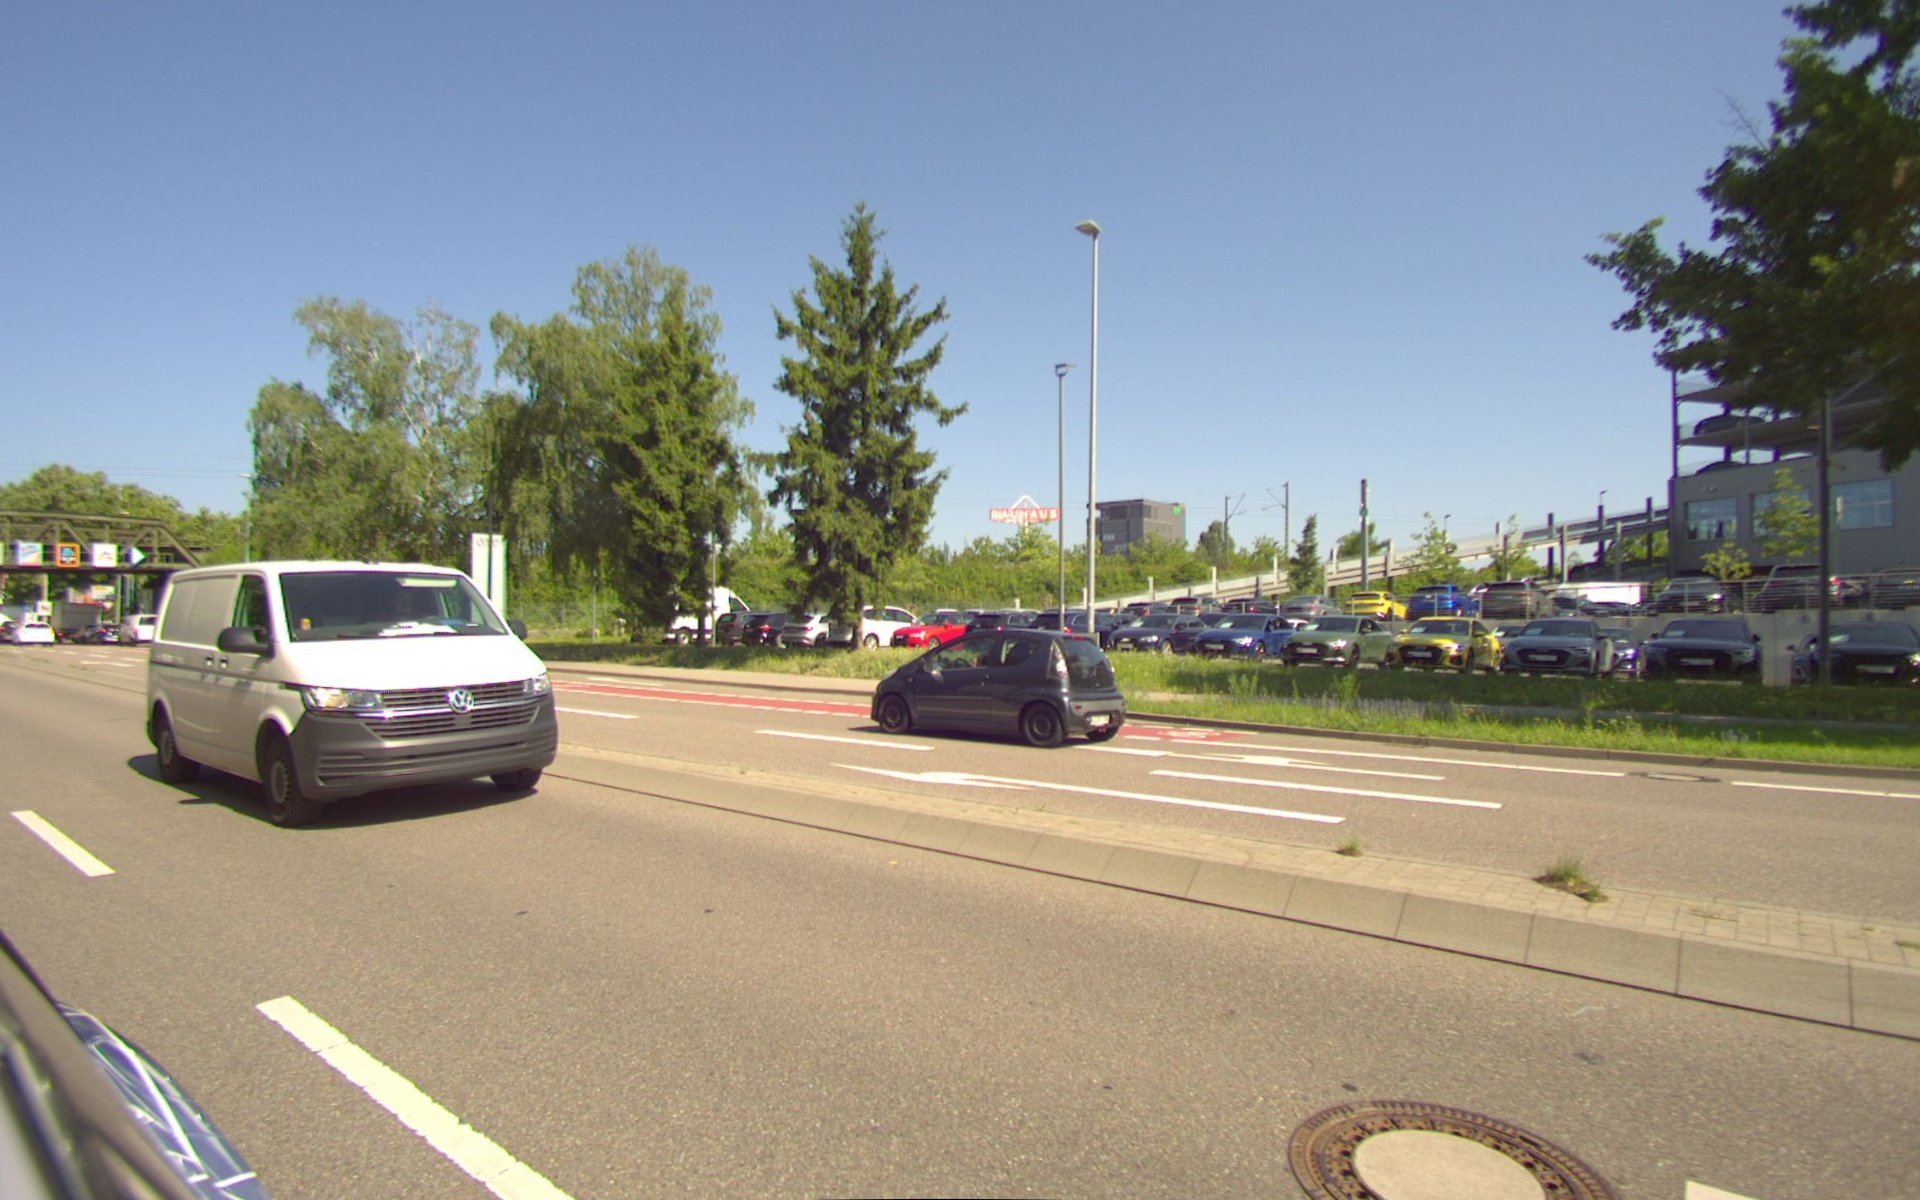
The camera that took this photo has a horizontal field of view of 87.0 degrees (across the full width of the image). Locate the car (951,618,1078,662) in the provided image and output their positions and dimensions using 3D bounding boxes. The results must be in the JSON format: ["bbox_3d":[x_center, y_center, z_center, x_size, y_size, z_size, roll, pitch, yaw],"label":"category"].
[{"bbox_3d":[1.832,1.288,33.255,1.954,1.338,4.220,-1,-2,42],"label":"car"}]

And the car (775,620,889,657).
[{"bbox_3d":[-4.700,1.422,37.596,1.743,1.303,4.042,-1,-2,42],"label":"car"}]

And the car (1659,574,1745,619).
[{"bbox_3d":[24.928,-0.078,33.936,1.953,1.361,4.221,-1,-2,41],"label":"car"}]

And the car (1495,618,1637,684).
[{"bbox_3d":[13.887,1.113,23.086,1.954,1.361,4.220,-1,-2,42],"label":"car"}]

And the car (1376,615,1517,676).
[{"bbox_3d":[11.935,1.074,24.708,1.954,1.361,4.220,-1,-2,42],"label":"car"}]

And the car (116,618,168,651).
[{"bbox_3d":[-51.367,2.172,63.512,1.970,2.029,5.349,2,-3,-45],"label":"car"}]

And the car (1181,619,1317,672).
[{"bbox_3d":[8.049,1.223,28.000,1.954,1.361,4.220,-1,-2,42],"label":"car"}]

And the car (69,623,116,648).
[{"bbox_3d":[-63.180,2.627,73.672,4.285,1.703,1.963,-3,-5,41],"label":"car"}]

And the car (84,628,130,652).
[{"bbox_3d":[-58.283,2.756,69.128,4.175,1.506,1.750,-3,-5,41],"label":"car"}]

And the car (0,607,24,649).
[{"bbox_3d":[-67.851,1.943,71.121,6.930,2.827,1.974,-2,-4,39],"label":"car"}]

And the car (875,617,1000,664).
[{"bbox_3d":[-0.704,1.357,34.880,1.954,1.515,4.220,-1,-2,42],"label":"car"}]

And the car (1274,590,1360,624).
[{"bbox_3d":[15.003,0.330,42.420,1.953,1.361,4.221,-1,-2,41],"label":"car"}]

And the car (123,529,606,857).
[{"bbox_3d":[-5.199,0.638,8.513,4.969,2.009,1.863,-1,-2,39],"label":"car"}]

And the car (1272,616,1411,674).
[{"bbox_3d":[9.948,1.130,26.245,1.954,1.361,4.220,-1,-2,42],"label":"car"}]

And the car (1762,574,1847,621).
[{"bbox_3d":[26.995,-0.031,32.316,1.953,1.361,4.221,-1,-2,41],"label":"car"}]

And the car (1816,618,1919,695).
[{"bbox_3d":[17.944,1.039,19.557,1.954,1.361,4.220,-1,-2,42],"label":"car"}]

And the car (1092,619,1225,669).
[{"bbox_3d":[5.896,1.263,29.797,1.954,1.361,4.220,-1,-2,42],"label":"car"}]

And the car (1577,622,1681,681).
[{"bbox_3d":[20.119,1.486,30.355,1.954,1.655,4.220,-1,-2,42],"label":"car"}]

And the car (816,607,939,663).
[{"bbox_3d":[-2.883,1.228,36.099,1.954,1.899,4.220,-1,-2,42],"label":"car"}]

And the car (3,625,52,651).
[{"bbox_3d":[-56.018,2.305,60.787,3.825,1.506,1.626,-3,-5,40],"label":"car"}]

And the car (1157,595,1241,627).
[{"bbox_3d":[10.861,0.539,45.807,1.953,1.361,4.221,-1,-2,41],"label":"car"}]

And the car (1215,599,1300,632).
[{"bbox_3d":[13.017,0.706,44.128,1.953,1.361,4.221,-1,-2,41],"label":"car"}]

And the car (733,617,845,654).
[{"bbox_3d":[-6.652,1.362,39.571,4.039,1.364,1.745,2,-1,-44],"label":"car"}]

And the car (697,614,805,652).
[{"bbox_3d":[-8.523,1.346,41.442,4.039,1.449,1.745,2,-2,-44],"label":"car"}]

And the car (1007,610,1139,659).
[{"bbox_3d":[3.523,1.046,31.041,1.954,1.392,4.220,-1,-2,42],"label":"car"}]

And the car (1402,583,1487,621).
[{"bbox_3d":[18.908,0.111,39.409,1.953,1.361,4.221,-1,-2,41],"label":"car"}]

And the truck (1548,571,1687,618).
[{"bbox_3d":[43.787,-0.338,67.426,8.321,2.939,2.673,1,-2,-14],"label":"truck"}]

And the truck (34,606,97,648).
[{"bbox_3d":[-69.050,2.112,78.082,7.059,3.112,2.319,-1,-2,38],"label":"truck"}]

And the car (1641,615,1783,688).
[{"bbox_3d":[15.774,1.017,21.142,1.954,1.361,4.220,-1,-2,42],"label":"car"}]

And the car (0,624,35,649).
[{"bbox_3d":[-62.170,2.410,66.325,4.175,1.506,1.750,-3,-5,41],"label":"car"}]

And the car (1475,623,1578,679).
[{"bbox_3d":[18.121,1.577,32.316,1.954,1.655,4.220,-1,-2,42],"label":"car"}]

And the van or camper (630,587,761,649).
[{"bbox_3d":[-11.421,0.739,44.062,1.997,2.489,5.327,-3,-1,38],"label":"van or camper"}]

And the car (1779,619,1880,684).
[{"bbox_3d":[23.857,1.357,27.713,1.954,1.655,4.220,-1,-2,42],"label":"car"}]

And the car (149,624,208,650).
[{"bbox_3d":[-44.061,2.052,57.021,4.683,1.424,1.971,-1,-2,44],"label":"car"}]

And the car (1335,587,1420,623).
[{"bbox_3d":[16.971,0.238,41.076,1.953,1.361,4.221,-1,-2,41],"label":"car"}]

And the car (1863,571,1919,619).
[{"bbox_3d":[29.309,-0.120,31.308,1.953,1.361,4.221,-1,-2,41],"label":"car"}]

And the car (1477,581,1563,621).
[{"bbox_3d":[20.829,0.077,37.550,1.953,1.361,4.221,-1,-2,41],"label":"car"}]

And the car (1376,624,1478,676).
[{"bbox_3d":[15.923,1.651,34.400,1.954,1.655,4.220,-1,-2,42],"label":"car"}]

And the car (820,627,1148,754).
[{"bbox_3d":[0.254,1.099,13.284,3.990,1.425,1.768,-1,-4,35],"label":"car"}]
